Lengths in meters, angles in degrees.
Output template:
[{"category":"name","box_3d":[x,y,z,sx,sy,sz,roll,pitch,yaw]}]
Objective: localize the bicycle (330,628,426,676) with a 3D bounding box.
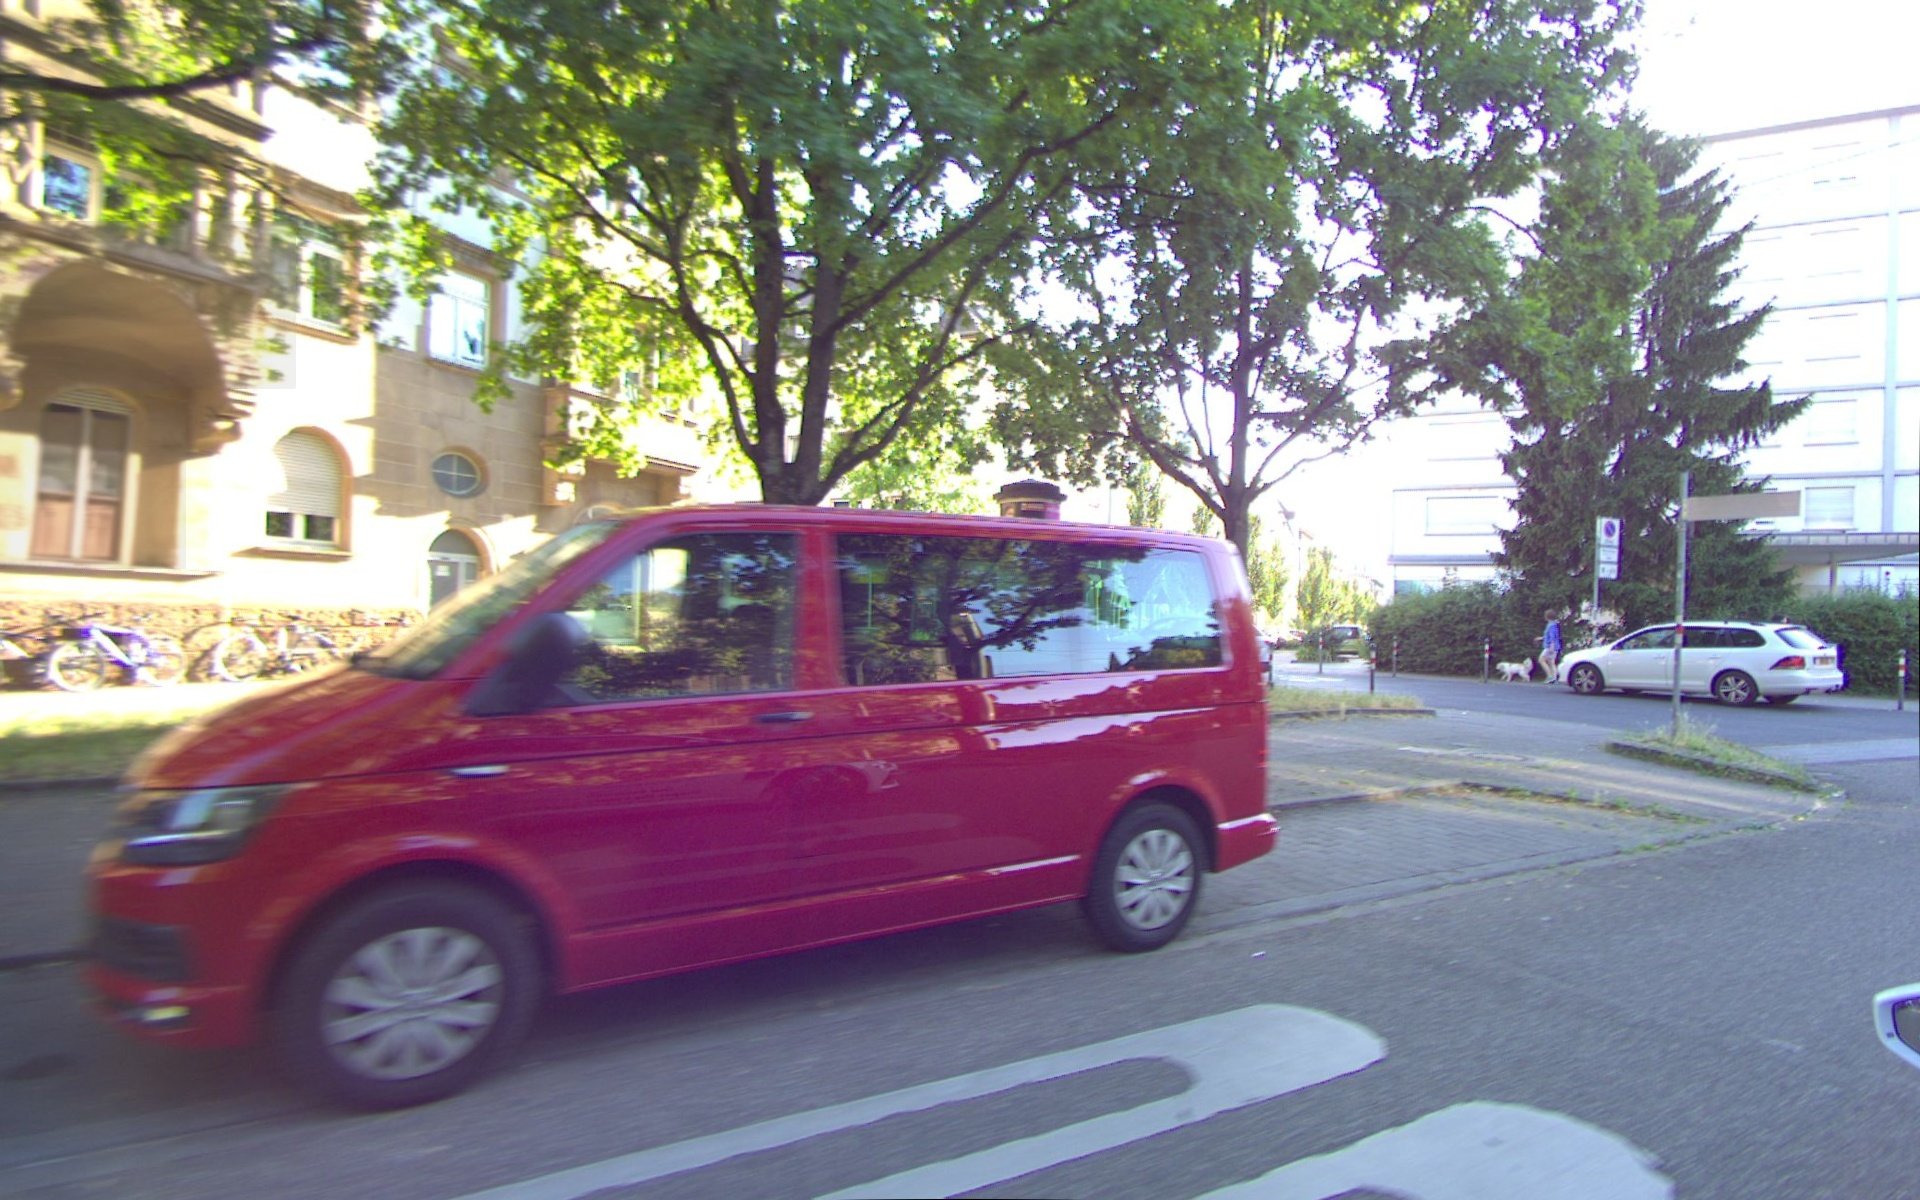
[{"category":"bicycle","box_3d":[-9.979,0.878,17.274,0.362,0.742,1.509,1,0,24]}]

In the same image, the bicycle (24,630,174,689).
[{"category":"bicycle","box_3d":[-11.576,0.776,13.555,0.362,0.742,1.509,1,-1,24]}]

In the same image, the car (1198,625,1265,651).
[{"category":"car","box_3d":[17.880,2.506,66.193,3.928,1.579,1.742,0,-1,30]}]

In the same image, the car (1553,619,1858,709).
[{"category":"car","box_3d":[13.884,1.111,19.013,1.898,1.470,4.267,1,-1,-26]}]

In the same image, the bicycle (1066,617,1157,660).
[{"category":"bicycle","box_3d":[5.839,1.466,38.737,3.319,1.464,0.880,3,0,29]}]

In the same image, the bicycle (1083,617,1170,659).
[{"category":"bicycle","box_3d":[6.674,1.497,40.357,3.319,1.464,0.880,3,0,29]}]

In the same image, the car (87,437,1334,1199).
[{"category":"car","box_3d":[-0.635,0.600,4.552,4.717,1.959,1.767,2,1,-31]}]

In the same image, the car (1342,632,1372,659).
[{"category":"car","box_3d":[28.695,3.261,72.532,1.961,1.808,3.999,0,-2,23]}]

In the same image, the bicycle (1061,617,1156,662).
[{"category":"bicycle","box_3d":[5.383,1.410,36.550,3.319,1.464,0.880,2,-1,29]}]

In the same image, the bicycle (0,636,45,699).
[{"category":"bicycle","box_3d":[-11.910,0.811,11.922,0.362,0.742,1.509,1,-1,24]}]

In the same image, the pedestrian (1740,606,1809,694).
[{"category":"pedestrian","box_3d":[16.851,1.019,20.793,0.861,1.759,0.824,2,0,-31]}]

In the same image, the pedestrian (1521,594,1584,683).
[{"category":"pedestrian","box_3d":[13.872,0.894,23.543,0.853,2.040,0.978,2,-1,-30]}]

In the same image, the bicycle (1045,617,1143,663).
[{"category":"bicycle","box_3d":[4.702,1.377,35.394,3.319,1.464,0.880,2,-1,29]}]

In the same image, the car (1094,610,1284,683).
[{"category":"car","box_3d":[5.675,1.121,25.390,1.926,1.669,4.483,2,-2,-38]}]

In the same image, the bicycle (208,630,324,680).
[{"category":"bicycle","box_3d":[-10.819,0.840,15.716,0.362,0.742,1.509,1,-1,24]}]
